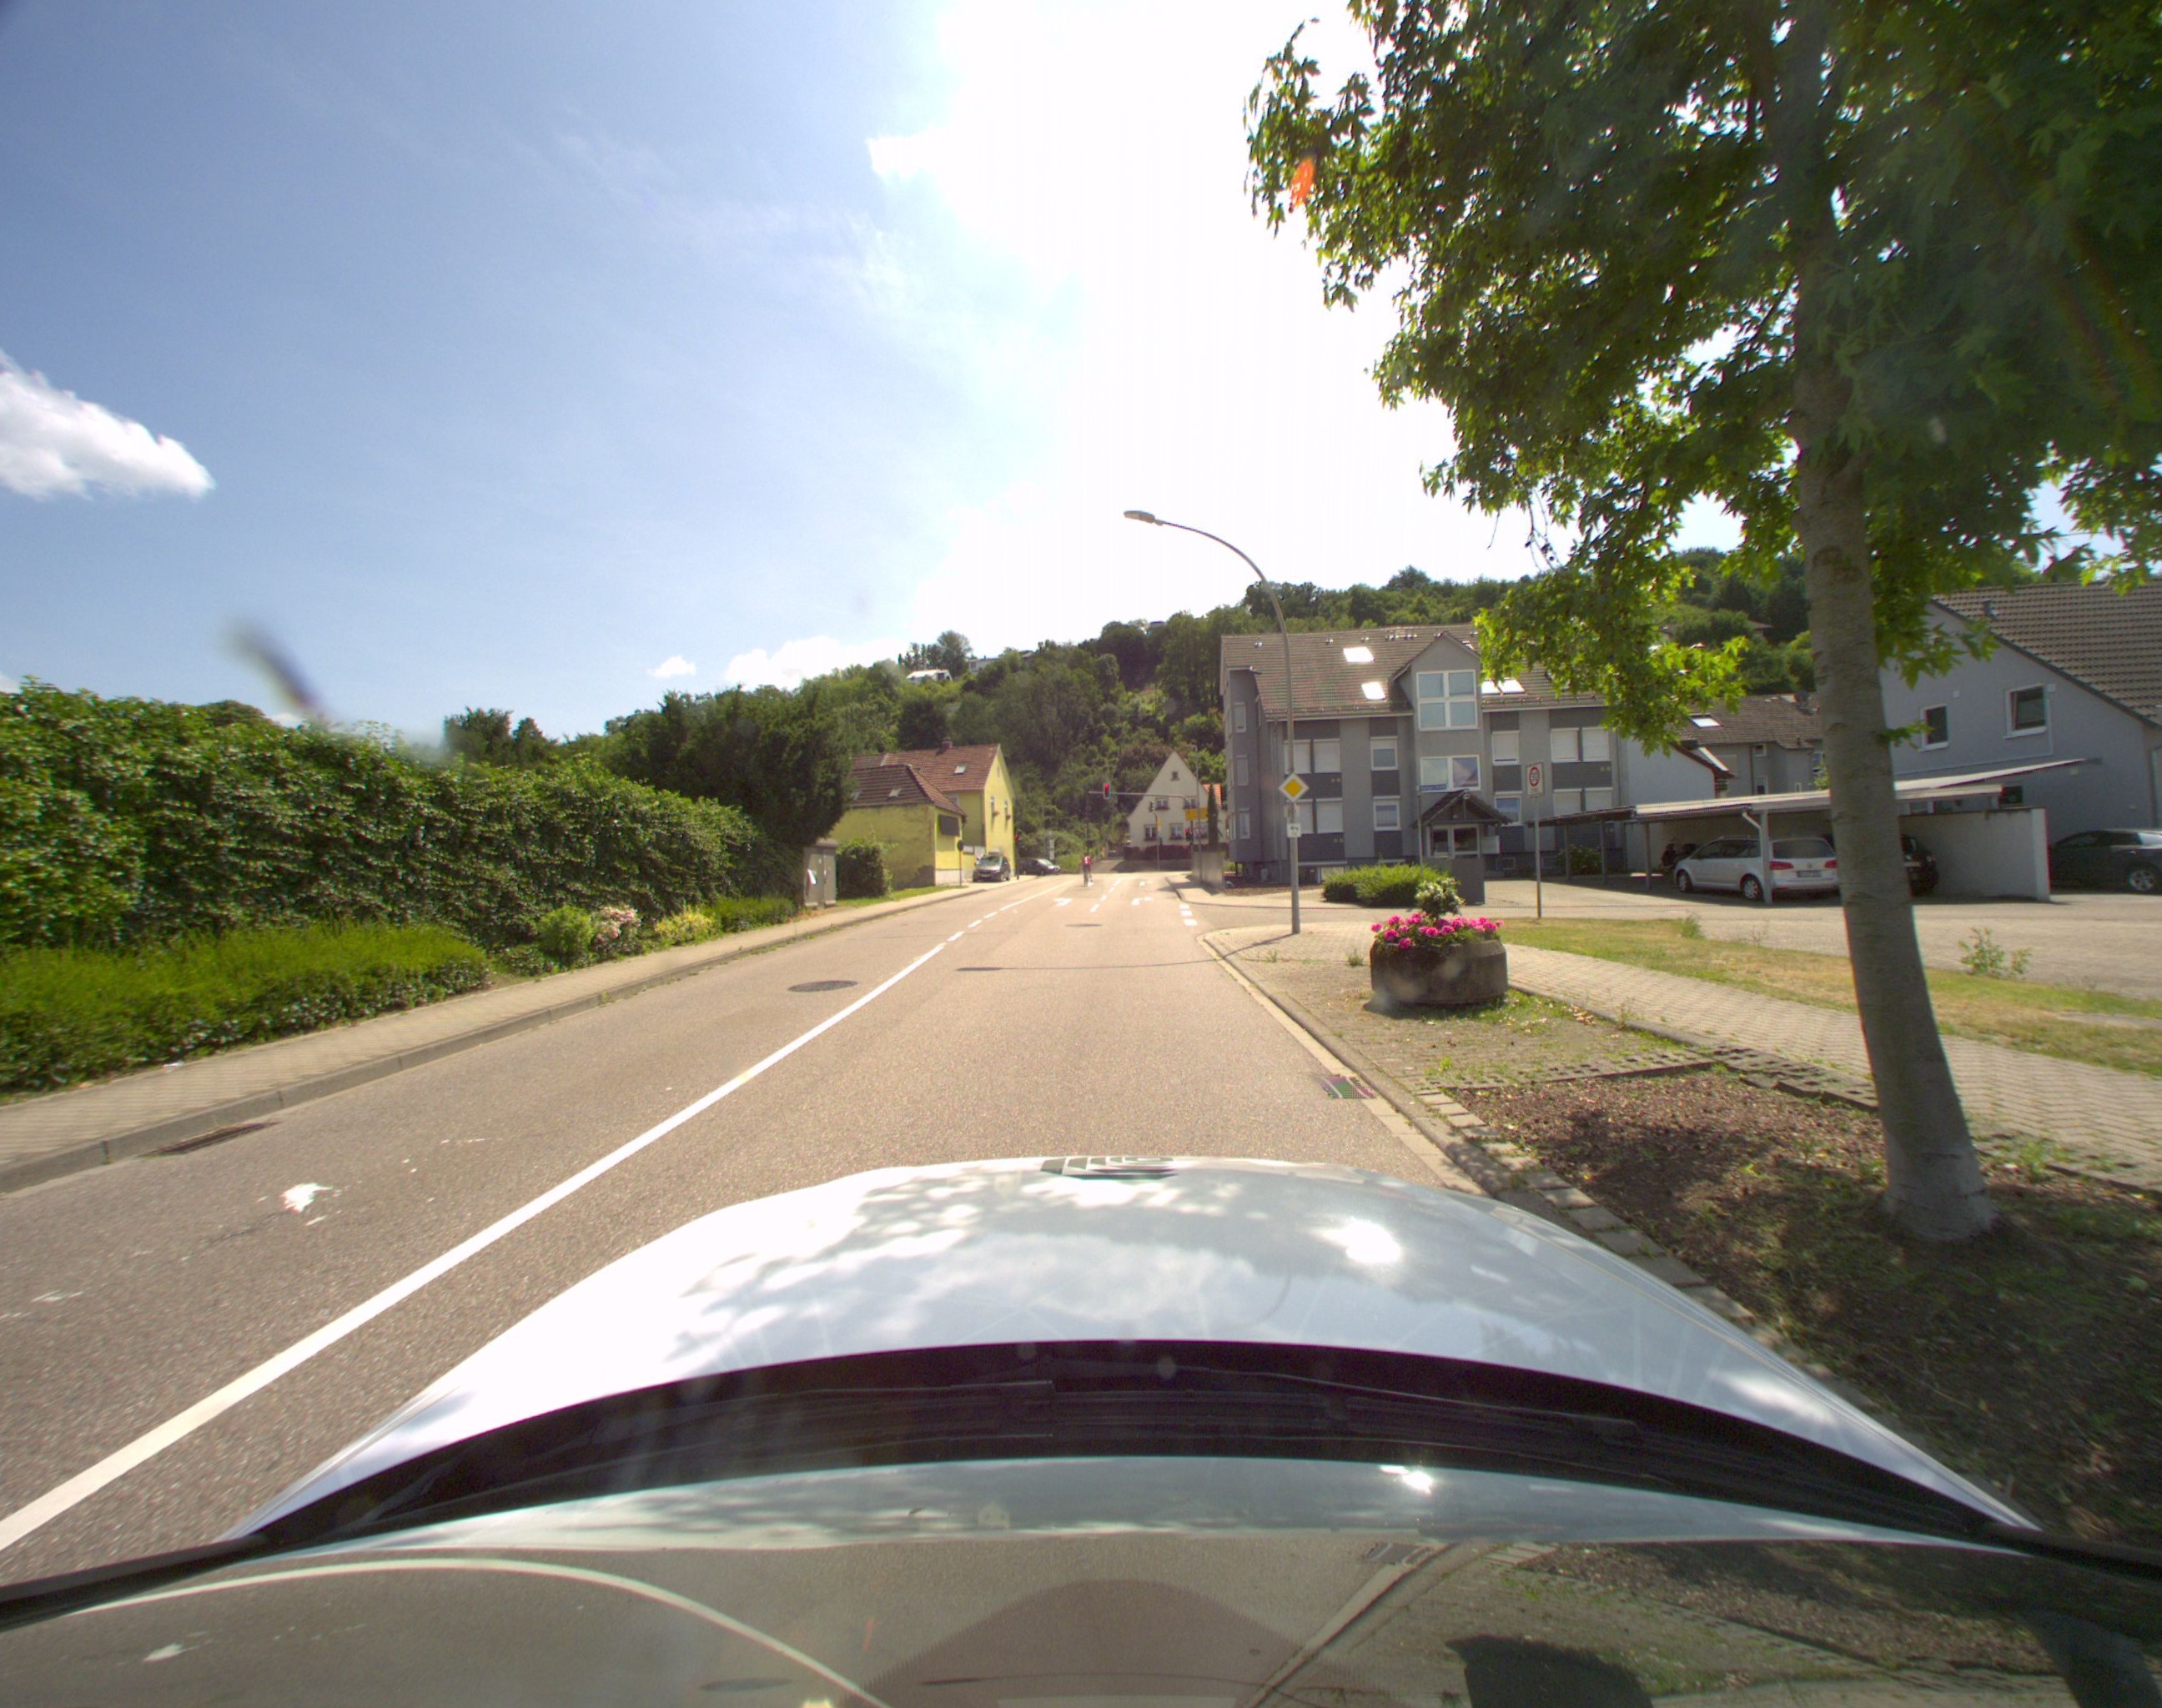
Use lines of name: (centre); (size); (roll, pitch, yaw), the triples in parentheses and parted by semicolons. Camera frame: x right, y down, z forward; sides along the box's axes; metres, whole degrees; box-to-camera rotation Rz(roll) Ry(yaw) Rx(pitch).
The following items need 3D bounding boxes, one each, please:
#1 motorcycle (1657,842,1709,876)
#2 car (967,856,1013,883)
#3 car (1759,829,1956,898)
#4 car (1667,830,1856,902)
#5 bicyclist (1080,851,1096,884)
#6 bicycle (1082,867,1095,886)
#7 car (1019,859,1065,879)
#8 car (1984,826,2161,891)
motorcycle: (22.343, 0.166, 30.258); (0.644, 1.163, 1.956); (-2, 1, 6)
car: (-5.657, 0.942, 51.181); (1.984, 1.635, 4.635); (0, 0, 4)
car: (20.346, 0.169, 21.590); (1.728, 1.587, 3.859); (-3, 1, 5)
car: (17.801, 0.223, 21.602); (1.728, 1.648, 4.222); (-3, 1, 5)
bicyclist: (0.361, 0.667, 41.027); (0.758, 1.664, 0.869); (-1, 0, 0)
bicycle: (0.362, 1.142, 41.081); (0.627, 0.905, 1.657); (-1, 0, 1)
car: (-3.230, 1.227, 66.892); (1.796, 1.433, 3.826); (-3, 0, -41)
car: (25.431, 0.087, 20.123); (1.801, 1.471, 4.001); (-2, 0, 1)
